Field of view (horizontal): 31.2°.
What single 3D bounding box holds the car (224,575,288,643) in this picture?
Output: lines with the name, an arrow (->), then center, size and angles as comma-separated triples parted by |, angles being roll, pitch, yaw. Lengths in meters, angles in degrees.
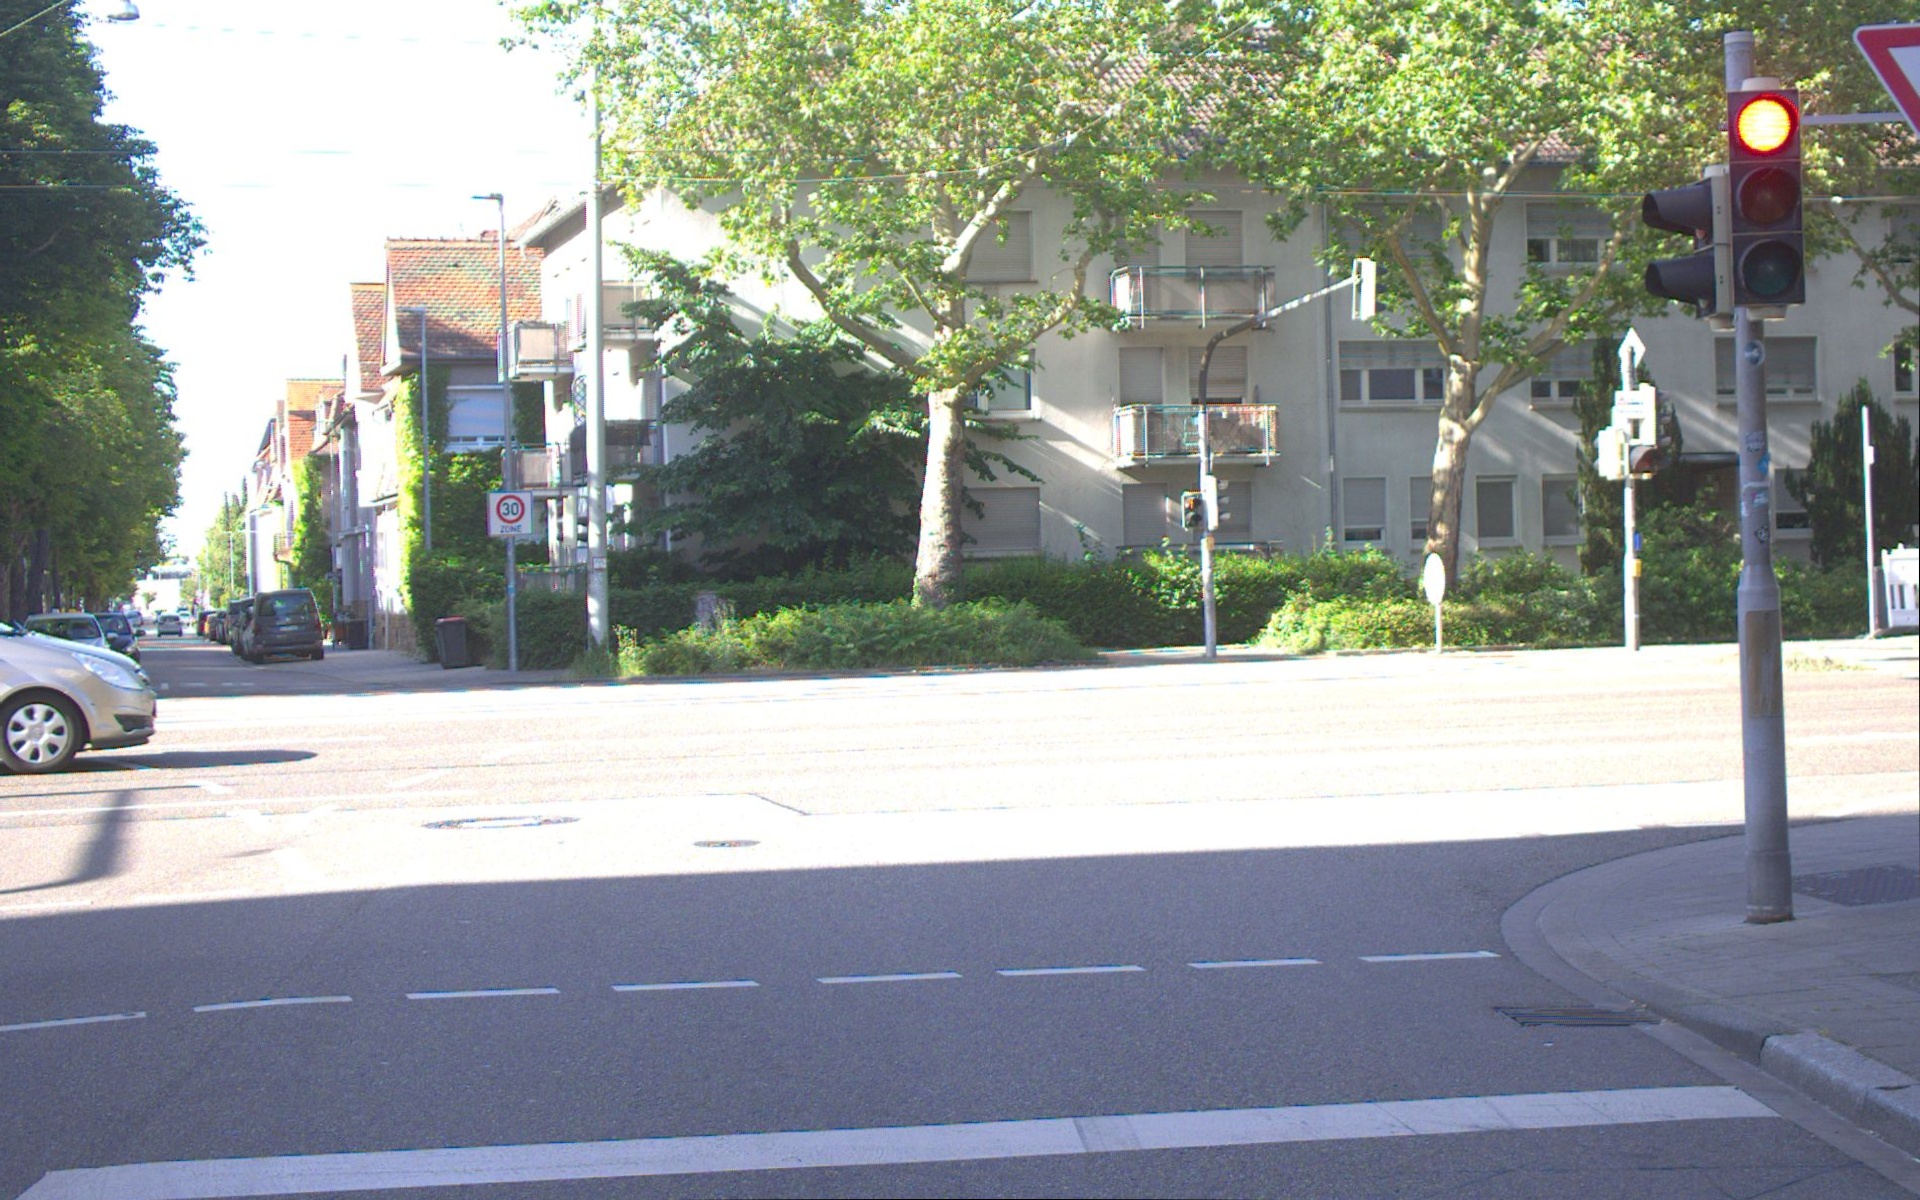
car -> -21.446, 0.255, 104.651 | 1.772, 1.912, 3.535 | -3, 1, -12

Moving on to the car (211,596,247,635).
car -> -38.456, 0.794, 180.829 | 1.772, 1.912, 3.535 | -3, 1, -12

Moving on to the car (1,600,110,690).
car -> -16.642, 0.807, 63.365 | 1.698, 1.478, 3.535 | -3, 1, -12

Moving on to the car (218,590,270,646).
car -> -26.693, 0.652, 128.162 | 1.772, 1.912, 3.535 | -3, 1, -12

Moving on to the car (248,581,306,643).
car -> -22.915, 0.378, 115.269 | 1.772, 1.912, 3.535 | -3, 1, -12

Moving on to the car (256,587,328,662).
car -> -18.383, 0.648, 94.536 | 1.772, 1.912, 3.535 | -3, 1, -12

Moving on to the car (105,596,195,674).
car -> -16.995, 0.716, 72.210 | 1.698, 1.478, 3.535 | -3, 1, -12

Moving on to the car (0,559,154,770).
car -> -8.028, 0.492, 24.912 | 4.200, 1.451, 1.679 | -2, 2, -14

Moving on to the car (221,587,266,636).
car -> -30.521, 0.470, 146.447 | 1.772, 1.912, 3.535 | -3, 1, -12
